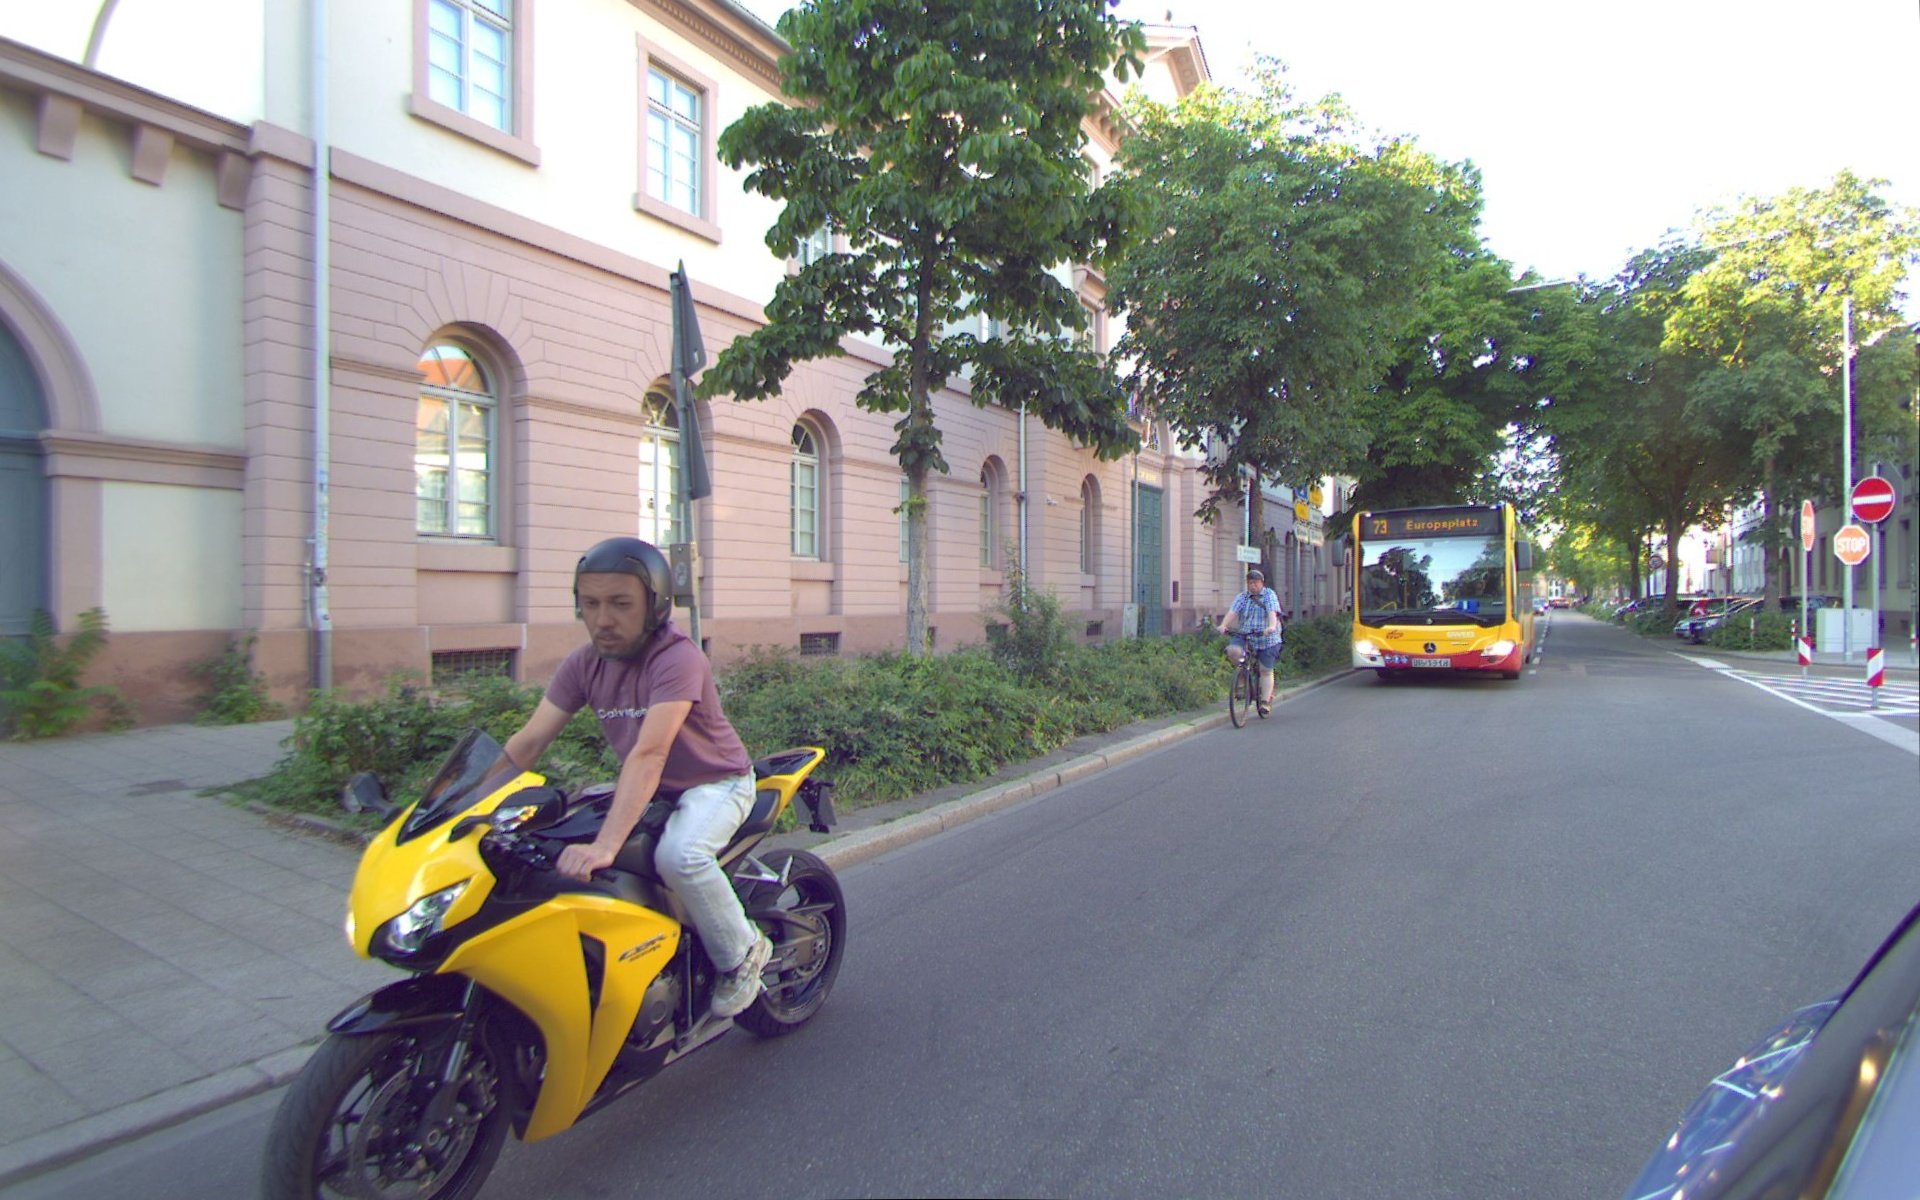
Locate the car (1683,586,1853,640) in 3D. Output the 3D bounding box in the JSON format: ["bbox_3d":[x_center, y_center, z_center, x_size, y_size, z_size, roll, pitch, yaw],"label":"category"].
[{"bbox_3d":[25.617,0.390,32.267,3.966,1.635,1.705,0,0,30],"label":"car"}]

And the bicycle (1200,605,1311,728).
[{"bbox_3d":[3.652,0.754,12.385,0.777,1.347,2.055,-2,-1,31],"label":"bicycle"}]

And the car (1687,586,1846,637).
[{"bbox_3d":[27.096,0.370,34.176,3.966,1.635,1.705,0,0,30],"label":"car"}]

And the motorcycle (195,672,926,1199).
[{"bbox_3d":[-0.928,0.870,2.960,0.786,1.175,1.948,-2,-1,28],"label":"motorcycle"}]

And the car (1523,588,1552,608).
[{"bbox_3d":[50.638,-0.202,88.638,2.067,1.719,3.954,0,0,32],"label":"car"}]

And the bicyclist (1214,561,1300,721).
[{"bbox_3d":[3.637,0.489,12.376,0.777,1.863,0.817,-2,-1,31],"label":"bicyclist"}]

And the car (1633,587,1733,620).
[{"bbox_3d":[36.714,0.159,51.502,3.966,1.635,1.705,0,0,30],"label":"car"}]

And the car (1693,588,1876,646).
[{"bbox_3d":[24.440,0.467,30.202,3.966,1.635,1.809,0,0,30],"label":"car"}]

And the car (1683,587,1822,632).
[{"bbox_3d":[30.338,0.332,38.898,3.966,1.635,1.705,0,0,30],"label":"car"}]

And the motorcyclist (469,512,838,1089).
[{"bbox_3d":[-0.897,0.505,3.026,0.786,1.438,0.692,-2,-1,28],"label":"motorcyclist"}]

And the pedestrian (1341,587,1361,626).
[{"bbox_3d":[18.945,0.295,49.008,0.794,1.855,0.920,0,0,29],"label":"pedestrian"}]

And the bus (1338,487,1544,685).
[{"bbox_3d":[10.570,-0.215,21.296,2.691,3.039,11.948,-2,-1,31],"label":"bus"}]

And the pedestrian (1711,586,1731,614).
[{"bbox_3d":[47.857,-0.010,63.658,0.887,1.793,1.010,0,0,30],"label":"pedestrian"}]
